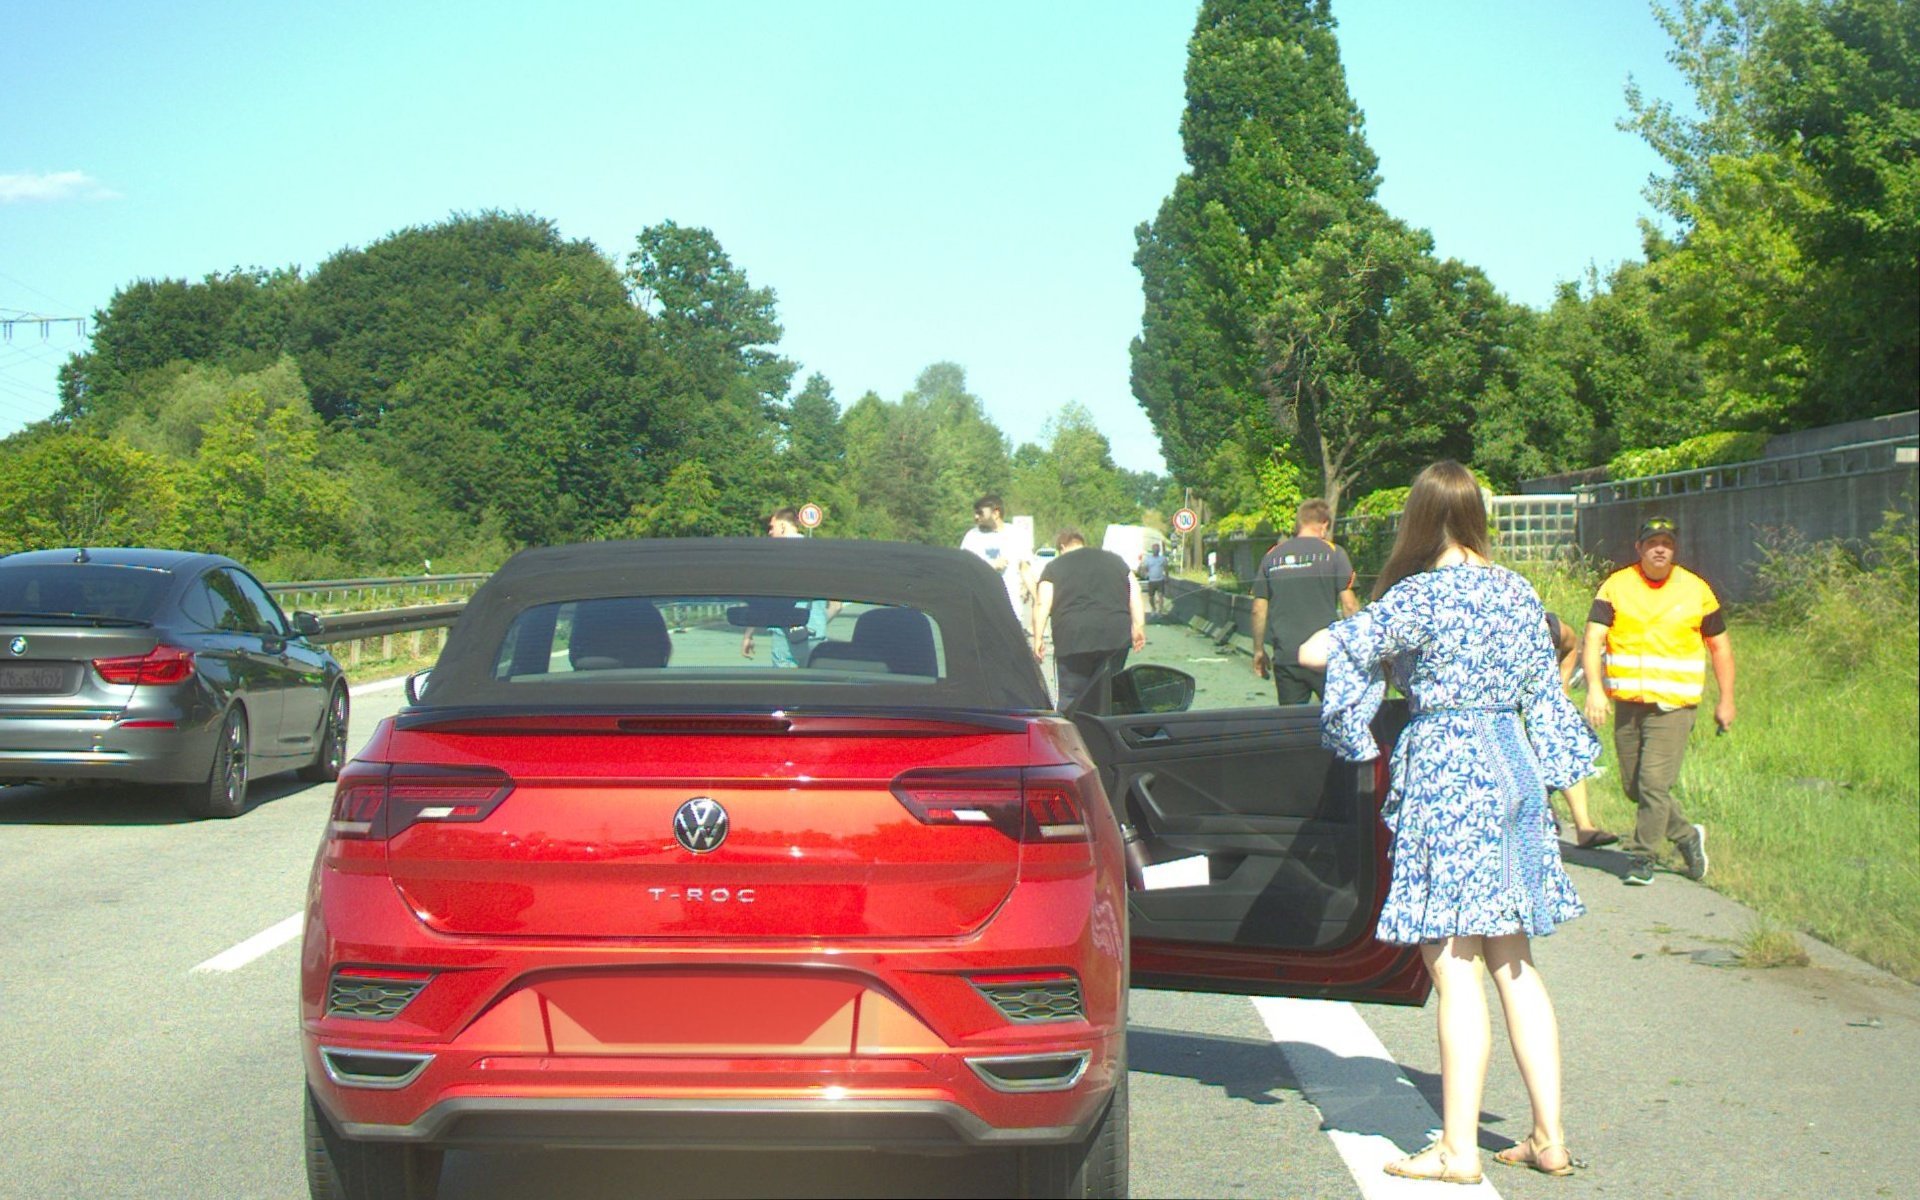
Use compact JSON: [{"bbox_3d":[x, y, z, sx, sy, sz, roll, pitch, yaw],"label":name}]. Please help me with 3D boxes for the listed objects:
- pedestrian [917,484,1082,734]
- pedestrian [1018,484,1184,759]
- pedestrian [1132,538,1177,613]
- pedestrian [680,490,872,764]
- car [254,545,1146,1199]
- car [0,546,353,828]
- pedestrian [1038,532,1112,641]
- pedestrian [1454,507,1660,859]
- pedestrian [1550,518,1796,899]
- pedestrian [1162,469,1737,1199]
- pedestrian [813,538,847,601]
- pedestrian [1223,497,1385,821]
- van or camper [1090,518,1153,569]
[{"bbox_3d":[0.297,0.056,27.006,1.105,1.906,1.257,-1,1,-7],"label":"pedestrian"},{"bbox_3d":[0.979,0.137,24.128,1.090,1.876,1.069,-1,1,-1],"label":"pedestrian"},{"bbox_3d":[4.426,-0.566,78.306,0.996,1.683,1.010,1,0,4],"label":"pedestrian"},{"bbox_3d":[-1.221,0.170,23.045,1.104,1.782,1.091,1,0,6],"label":"pedestrian"},{"bbox_3d":[-0.501,0.614,8.826,1.732,1.482,4.210,1,1,0],"label":"car"},{"bbox_3d":[-4.750,0.414,19.847,1.694,1.421,4.334,1,1,0],"label":"car"},{"bbox_3d":[1.808,-0.221,53.975,1.056,1.683,1.017,1,0,7],"label":"pedestrian"},{"bbox_3d":[2.989,0.405,17.282,0.894,1.719,0.754,1,0,2],"label":"pedestrian"},{"bbox_3d":[3.203,0.462,15.565,0.958,1.648,1.278,-1,1,7],"label":"pedestrian"},{"bbox_3d":[1.141,0.549,8.205,0.889,1.689,1.129,-1,1,-22],"label":"pedestrian"},{"bbox_3d":[-3.486,-0.815,92.287,0.792,1.683,0.792,1,0,5],"label":"pedestrian"},{"bbox_3d":[1.926,0.317,19.165,0.812,1.753,0.828,1,0,10],"label":"pedestrian"},{"bbox_3d":[7.573,-2.617,160.918,1.995,2.308,4.467,1,1,15],"label":"van or camper"}]
